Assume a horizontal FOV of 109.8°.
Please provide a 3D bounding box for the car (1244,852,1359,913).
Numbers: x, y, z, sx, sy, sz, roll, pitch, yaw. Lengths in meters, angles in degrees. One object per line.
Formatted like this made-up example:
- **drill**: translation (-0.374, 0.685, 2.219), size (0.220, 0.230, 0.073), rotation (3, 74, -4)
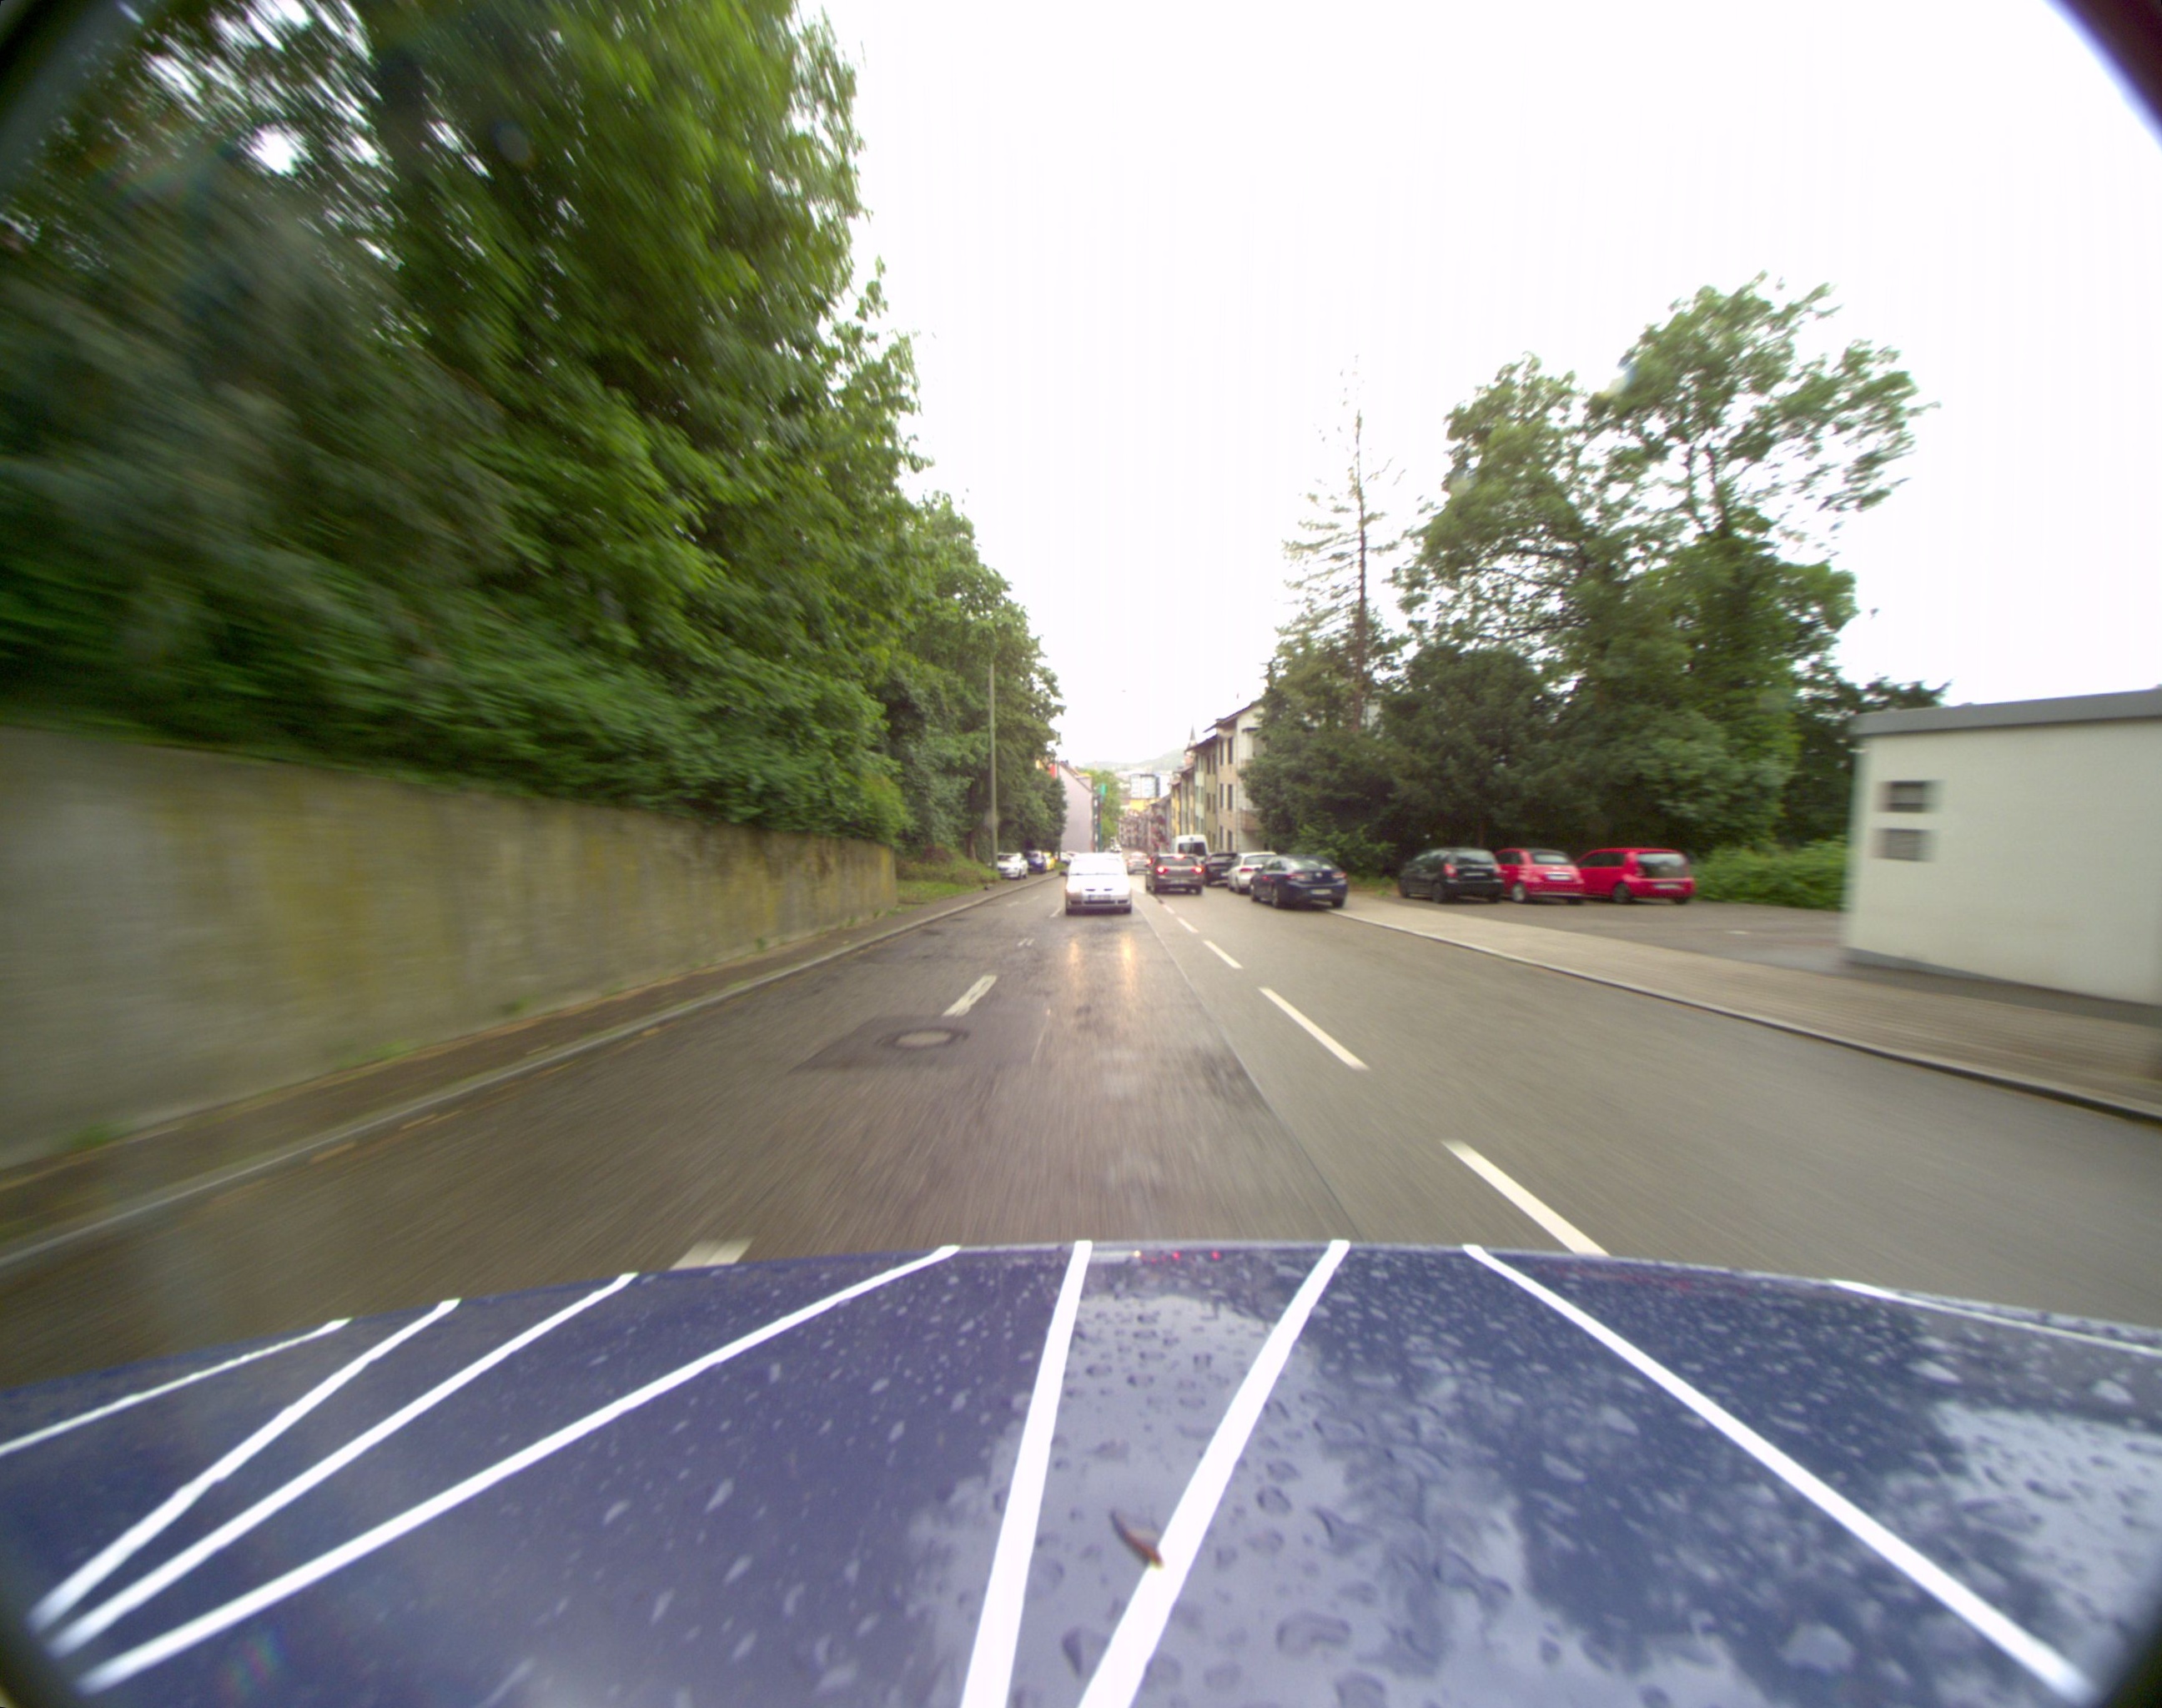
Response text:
- **car**: translation (6.174, 0.727, 21.880), size (1.864, 1.485, 4.755), rotation (2, 0, 0)

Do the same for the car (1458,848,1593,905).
- **car**: translation (12.286, 0.560, 21.270), size (1.625, 1.450, 3.774), rotation (-1, 0, 1)

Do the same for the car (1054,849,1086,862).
- **car**: translation (-1.471, 0.202, 104.167), size (4.192, 1.565, 1.804), rotation (2, 1, 3)

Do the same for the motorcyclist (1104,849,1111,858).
- **motorcyclist**: translation (3.483, -0.081, 99.816), size (0.778, 1.120, 0.549), rotation (-2, 1, 5)

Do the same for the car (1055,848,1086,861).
- **car**: translation (-1.455, 0.022, 106.654), size (4.192, 1.635, 1.803), rotation (2, 2, 3)

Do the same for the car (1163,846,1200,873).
- **car**: translation (6.840, 0.374, 52.266), size (1.970, 1.729, 4.885), rotation (1, 0, 1)

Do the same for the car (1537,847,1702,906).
- **car**: translation (14.578, 0.549, 20.908), size (1.599, 1.450, 4.242), rotation (-1, 0, 1)

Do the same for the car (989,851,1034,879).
- **car**: translation (-3.895, 0.567, 43.187), size (1.742, 1.469, 4.741), rotation (1, 0, 4)

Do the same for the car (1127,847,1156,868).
- **car**: translation (4.363, 0.265, 55.209), size (1.729, 1.427, 3.912), rotation (1, 0, 0)

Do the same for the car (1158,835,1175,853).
- **car**: translation (12.474, -1.456, 110.789), size (2.122, 2.536, 5.444), rotation (1, 1, 3)

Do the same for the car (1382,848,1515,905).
- **car**: translation (10.278, 0.556, 21.632), size (1.727, 1.450, 4.396), rotation (-1, 0, 1)

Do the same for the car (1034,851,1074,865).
- **car**: translation (-2.987, 0.462, 84.665), size (4.192, 1.408, 1.804), rotation (1, 1, 3)

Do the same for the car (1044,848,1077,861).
- **car**: translation (-2.637, 0.077, 99.410), size (4.192, 1.565, 1.804), rotation (2, 1, 3)

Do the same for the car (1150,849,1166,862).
- **car**: translation (10.151, 0.213, 99.980), size (1.908, 1.647, 4.329), rotation (0, 1, 3)

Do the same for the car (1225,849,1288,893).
- **car**: translation (6.495, 0.583, 28.508), size (1.659, 1.560, 4.149), rotation (0, 0, 4)

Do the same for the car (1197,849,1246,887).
- **car**: translation (6.322, 0.580, 34.474), size (1.648, 1.595, 4.186), rotation (2, 1, 4)

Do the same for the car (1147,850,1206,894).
- **car**: translation (3.472, 0.617, 28.359), size (1.765, 1.482, 4.000), rotation (0, 0, 1)

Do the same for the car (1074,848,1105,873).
- **car**: translation (0.650, 0.432, 52.543), size (1.998, 1.603, 3.967), rotation (-1, 1, 2)

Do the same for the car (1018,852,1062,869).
- **car**: translation (-4.113, 0.637, 76.877), size (4.192, 1.584, 1.804), rotation (-1, 1, 3)

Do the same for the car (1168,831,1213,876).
- **car**: translation (6.543, -0.055, 45.945), size (2.122, 2.536, 5.444), rotation (1, 1, 3)

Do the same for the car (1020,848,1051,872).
- **car**: translation (-3.179, 0.397, 53.929), size (1.769, 1.614, 4.679), rotation (0, 1, 2)

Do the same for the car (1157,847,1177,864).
- **car**: translation (8.569, 0.112, 75.582), size (1.696, 1.584, 4.000), rotation (0, 1, 2)

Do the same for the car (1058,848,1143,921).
- **car**: translation (0.625, 0.694, 19.550), size (1.825, 1.603, 4.190), rotation (-2, 1, 6)

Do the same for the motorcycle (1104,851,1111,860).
- **motorcycle**: translation (3.498, 0.133, 99.841), size (0.778, 1.120, 2.300), rotation (-2, 1, 5)

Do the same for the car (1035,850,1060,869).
- **car**: translation (-2.721, 0.414, 61.653), size (1.567, 1.458, 3.899), rotation (2, 1, 4)
